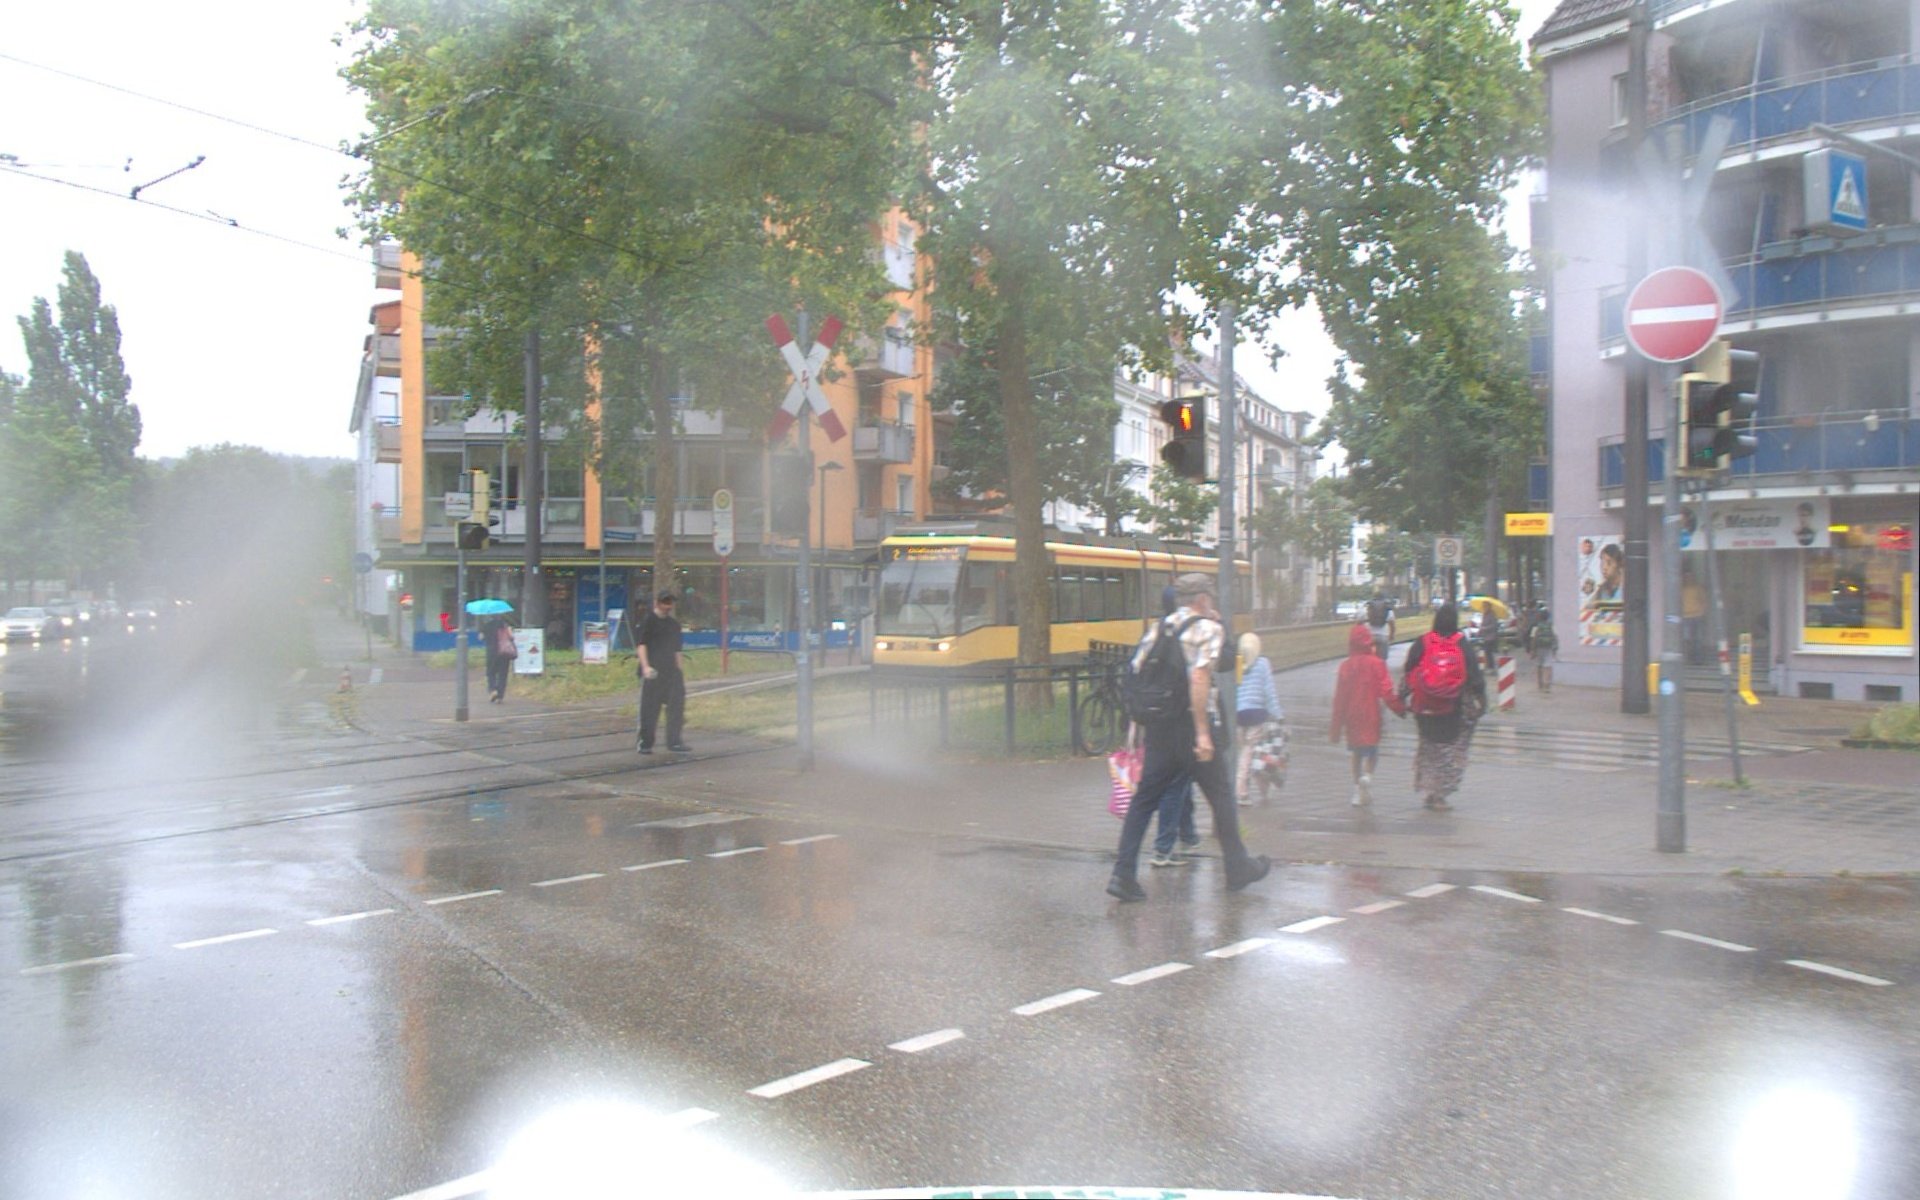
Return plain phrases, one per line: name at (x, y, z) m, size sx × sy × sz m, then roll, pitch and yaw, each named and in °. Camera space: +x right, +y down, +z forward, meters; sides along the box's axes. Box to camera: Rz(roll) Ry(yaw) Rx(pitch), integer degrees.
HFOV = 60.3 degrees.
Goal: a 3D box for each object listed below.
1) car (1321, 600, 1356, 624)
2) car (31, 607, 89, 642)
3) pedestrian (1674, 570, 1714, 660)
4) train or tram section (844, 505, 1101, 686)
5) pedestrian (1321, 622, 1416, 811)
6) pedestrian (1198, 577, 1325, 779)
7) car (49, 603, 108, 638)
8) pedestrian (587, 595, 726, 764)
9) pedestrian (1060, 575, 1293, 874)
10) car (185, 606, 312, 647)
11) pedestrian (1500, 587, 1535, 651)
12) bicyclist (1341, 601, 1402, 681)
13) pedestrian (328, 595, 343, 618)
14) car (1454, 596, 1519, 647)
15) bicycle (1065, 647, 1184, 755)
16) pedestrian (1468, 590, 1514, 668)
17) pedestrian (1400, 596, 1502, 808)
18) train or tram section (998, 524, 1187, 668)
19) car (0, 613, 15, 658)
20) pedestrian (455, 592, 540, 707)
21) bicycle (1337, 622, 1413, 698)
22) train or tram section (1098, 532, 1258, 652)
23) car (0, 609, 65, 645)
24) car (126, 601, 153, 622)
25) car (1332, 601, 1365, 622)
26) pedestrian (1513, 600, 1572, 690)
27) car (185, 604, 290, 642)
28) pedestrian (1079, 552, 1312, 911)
car at (25.309, 0.775, 110.498) m, size 1.951 × 1.560 × 4.002 m, roll 0°, pitch 0°, yaw 17°
car at (-40.662, 1.085, 74.784) m, size 1.754 × 1.445 × 4.238 m, roll -1°, pitch 1°, yaw -21°
pedestrian at (13.336, 0.267, 30.046) m, size 0.589 × 1.630 × 0.466 m, roll 0°, pitch 0°, yaw -43°
train or tram section at (0.532, -0.088, 35.808) m, size 2.584 × 3.428 × 8.374 m, roll 0°, pitch 0°, yaw 23°
pedestrian at (3.215, 0.889, 13.071) m, size 0.657 × 1.406 × 1.011 m, roll -1°, pitch 0°, yaw 10°
pedestrian at (2.445, 0.592, 13.333) m, size 0.857 × 1.552 × 1.065 m, roll 0°, pitch 0°, yaw 19°
car at (-43.178, 1.002, 81.101) m, size 1.886 × 1.668 × 4.793 m, roll 1°, pitch -1°, yaw -20°
pedestrian at (-3.415, 0.854, 18.594) m, size 1.216 × 1.820 × 1.031 m, roll 0°, pitch 0°, yaw 44°
pedestrian at (1.337, 0.711, 10.256) m, size 1.045 × 1.716 × 0.982 m, roll -1°, pitch 1°, yaw -39°
car at (-27.544, 0.994, 64.181) m, size 4.470 × 1.496 × 1.970 m, roll -1°, pitch 0°, yaw -22°
pedestrian at (15.257, 0.501, 45.254) m, size 0.899 × 1.727 × 0.956 m, roll 0°, pitch 0°, yaw 19°
bicyclist at (7.057, 0.693, 28.410) m, size 0.725 × 1.332 × 1.076 m, roll -1°, pitch 1°, yaw -3°
pedestrian at (-50.596, 0.557, 133.992) m, size 1.046 × 1.842 × 1.089 m, roll 0°, pitch 0°, yaw -17°
car at (18.492, 0.720, 57.995) m, size 1.952 × 1.702 × 4.001 m, roll 0°, pitch 0°, yaw 20°
bicycle at (1.830, 1.091, 18.247) m, size 0.438 × 1.095 × 1.608 m, roll 0°, pitch 0°, yaw 43°
pedestrian at (11.940, 0.638, 37.151) m, size 0.933 × 1.727 × 0.921 m, roll 0°, pitch 0°, yaw 21°
pedestrian at (3.801, 0.768, 12.841) m, size 0.675 × 1.575 × 0.762 m, roll -1°, pitch 0°, yaw 11°
train or tram section at (3.694, -0.097, 43.559) m, size 2.583 × 3.410 × 8.375 m, roll 0°, pitch 0°, yaw 22°
car at (-33.939, 1.178, 54.335) m, size 4.807 × 1.479 × 2.088 m, roll 0°, pitch 0°, yaw 10°
pedestrian at (-7.949, 0.833, 28.384) m, size 1.157 × 1.897 × 1.373 m, roll 1°, pitch 0°, yaw -27°
bicycle at (7.082, 0.997, 28.338) m, size 0.735 × 1.193 × 2.041 m, roll -1°, pitch 1°, yaw -2°
train or tram section at (7.072, -0.242, 52.121) m, size 2.583 × 3.410 × 9.986 m, roll 0°, pitch 0°, yaw 22°
car at (-38.073, 1.099, 67.980) m, size 1.751 × 1.428 × 4.795 m, roll 1°, pitch -1°, yaw -23°
car at (-66.181, 0.927, 133.361) m, size 1.755 × 1.556 × 3.963 m, roll 1°, pitch 1°, yaw -28°
car at (27.261, 0.800, 115.956) m, size 1.951 × 1.422 × 4.002 m, roll 0°, pitch 0°, yaw 17°
pedestrian at (10.469, 0.796, 29.711) m, size 0.971 × 1.586 × 0.784 m, roll 0°, pitch 0°, yaw 22°
car at (-31.505, 0.986, 72.216) m, size 4.134 × 1.596 × 1.875 m, roll 0°, pitch 0°, yaw -24°
pedestrian at (1.283, 0.657, 8.988) m, size 0.986 × 1.812 × 0.800 m, roll -1°, pitch 1°, yaw -42°
